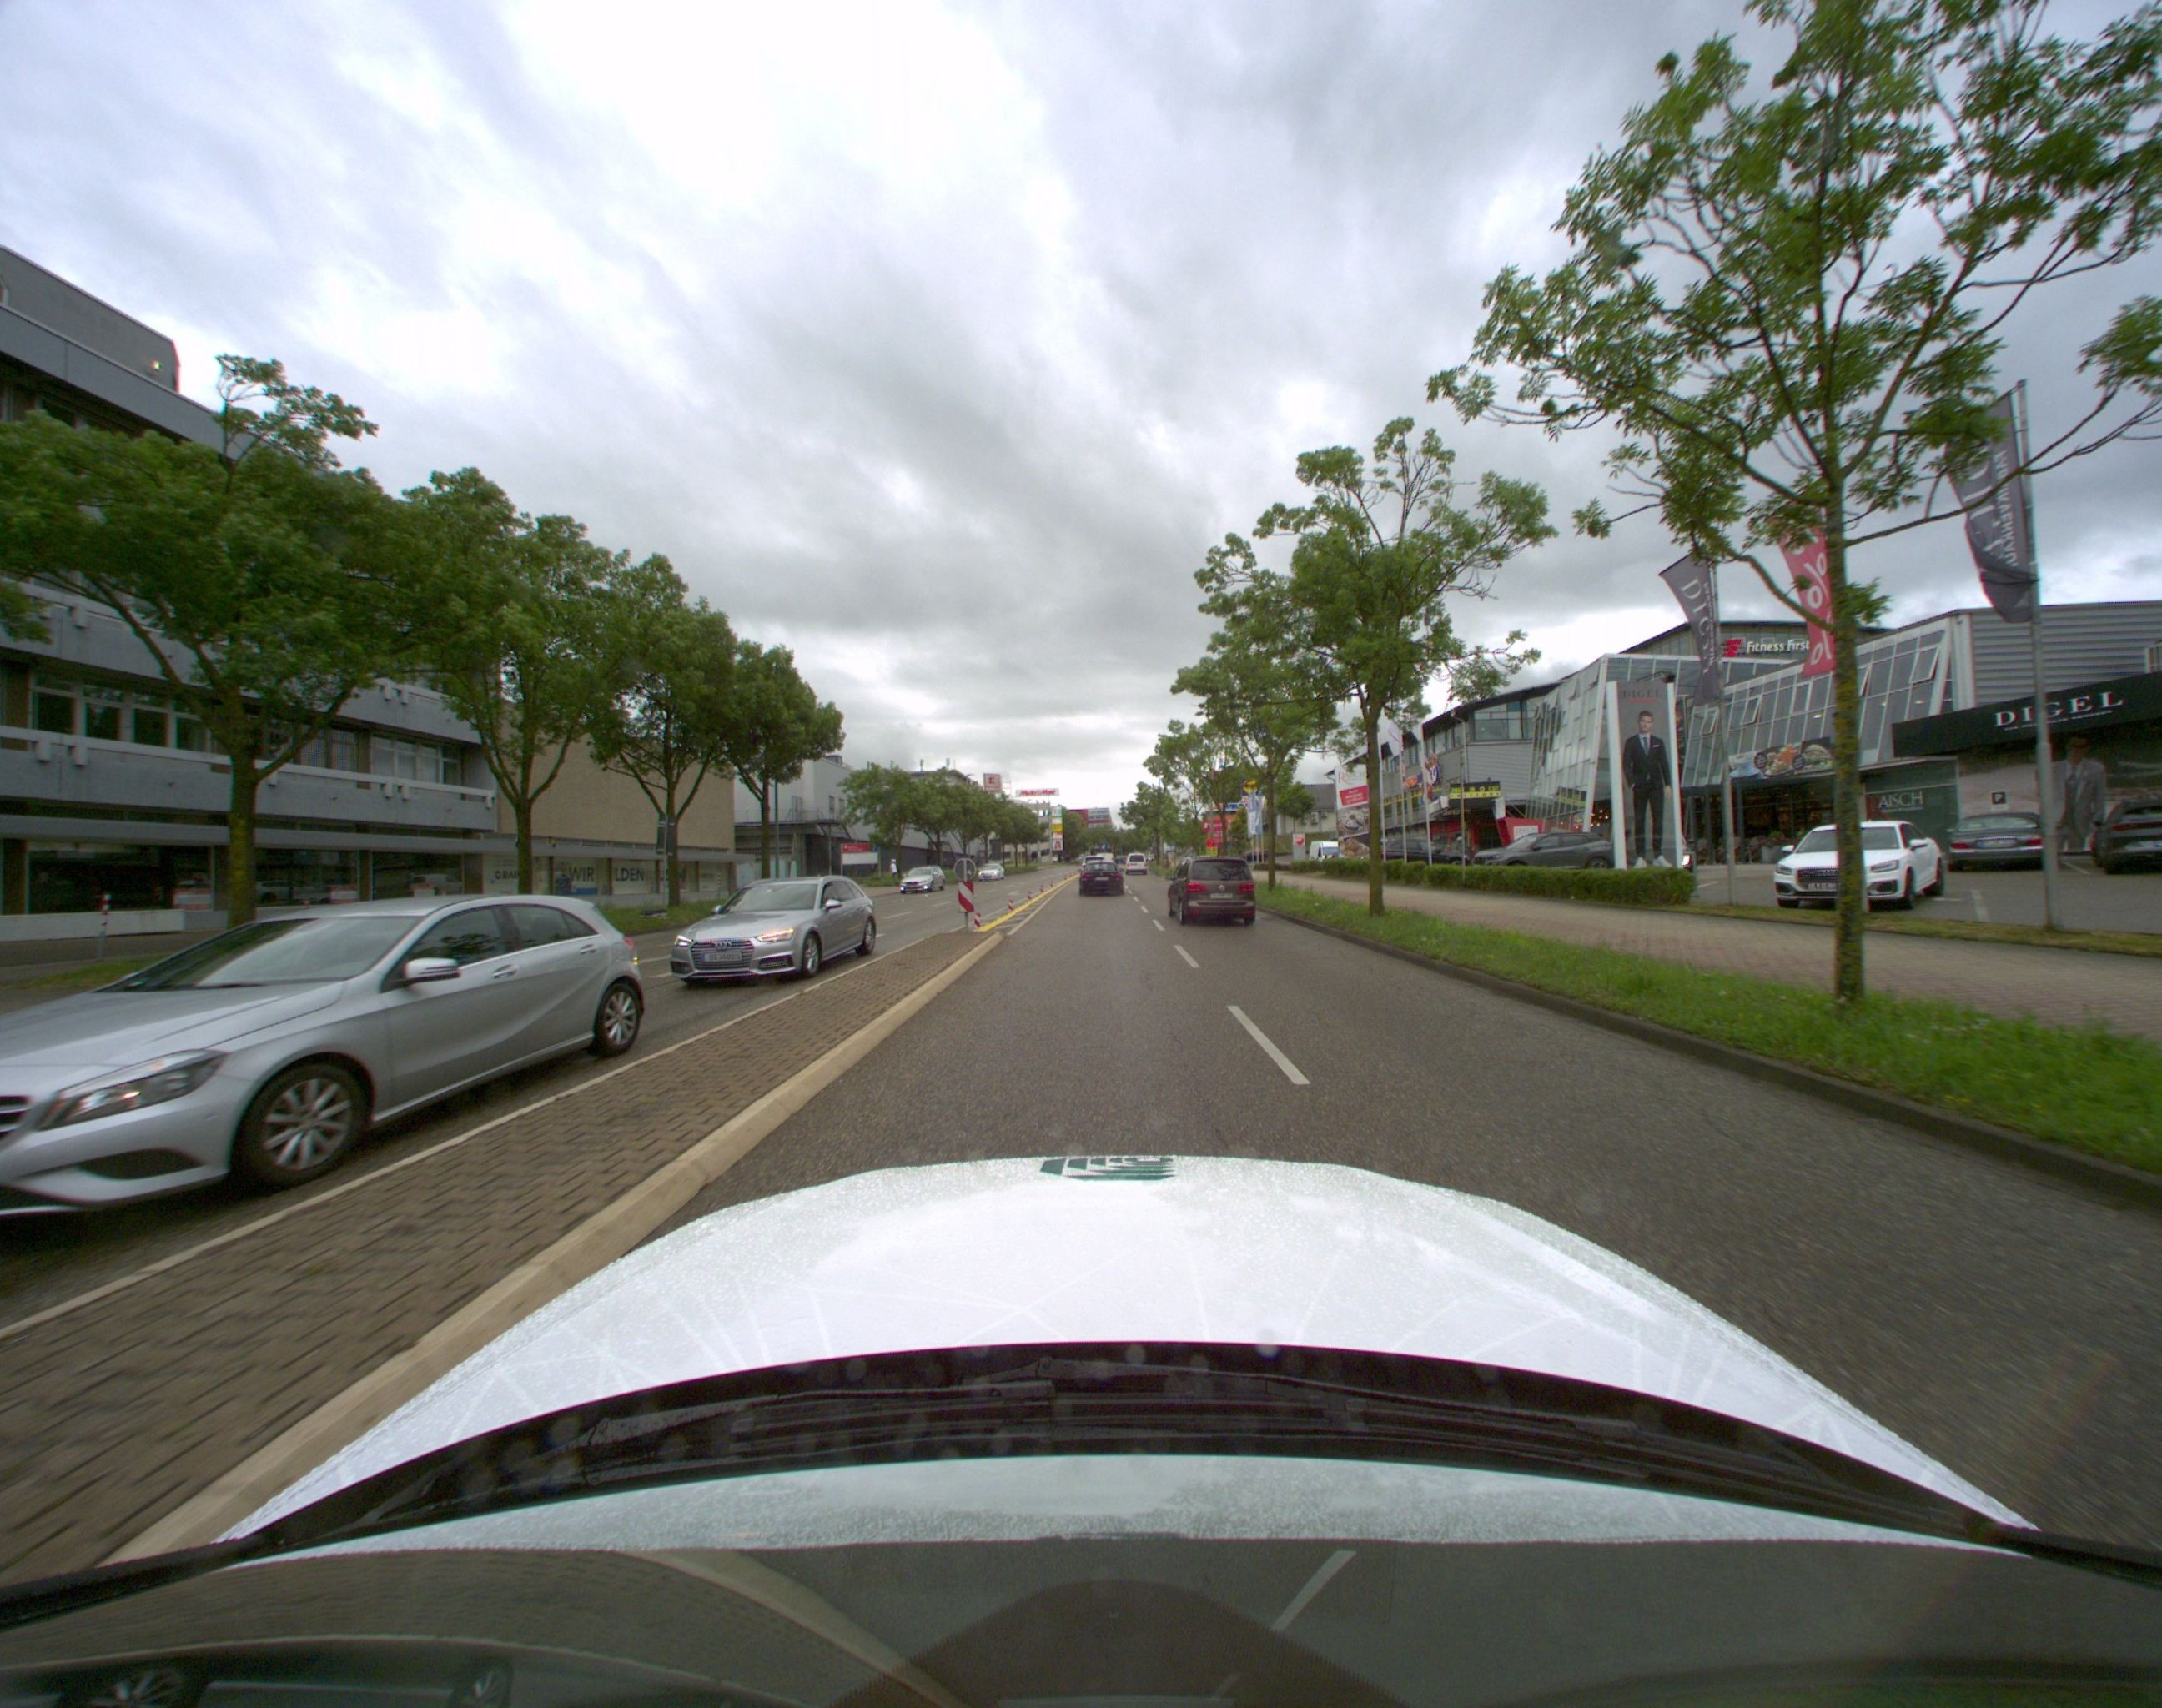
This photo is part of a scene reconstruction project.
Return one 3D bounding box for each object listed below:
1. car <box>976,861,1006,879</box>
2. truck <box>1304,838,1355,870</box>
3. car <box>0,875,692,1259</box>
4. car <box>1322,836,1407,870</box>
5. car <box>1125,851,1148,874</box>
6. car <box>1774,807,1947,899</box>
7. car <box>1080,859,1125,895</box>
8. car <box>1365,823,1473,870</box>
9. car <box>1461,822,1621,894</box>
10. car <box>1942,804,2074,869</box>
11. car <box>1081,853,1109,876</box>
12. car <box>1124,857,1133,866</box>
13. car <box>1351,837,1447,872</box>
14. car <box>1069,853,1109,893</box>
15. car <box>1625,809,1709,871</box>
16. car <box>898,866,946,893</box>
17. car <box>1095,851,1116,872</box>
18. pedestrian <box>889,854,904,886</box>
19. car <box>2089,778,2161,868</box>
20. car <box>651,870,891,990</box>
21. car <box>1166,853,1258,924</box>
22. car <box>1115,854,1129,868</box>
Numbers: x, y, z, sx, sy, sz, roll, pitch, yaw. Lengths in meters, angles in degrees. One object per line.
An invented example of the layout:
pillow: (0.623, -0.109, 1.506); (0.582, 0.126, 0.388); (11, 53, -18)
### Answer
car: (-7.582, 1.353, 68.772); (1.936, 1.448, 4.001); (-1, -1, 1)
truck: (19.557, 0.047, 64.433); (2.433, 2.348, 5.459); (0, -2, 1)
car: (-4.825, 0.951, 5.563); (1.834, 1.377, 4.863); (-5, -1, 1)
car: (15.472, -0.029, 44.570); (4.088, 1.703, 1.803); (-2, 0, 7)
car: (4.683, 0.731, 69.517); (1.775, 1.866, 4.001); (-2, -1, 2)
car: (14.730, -0.045, 15.344); (3.616, 1.536, 1.776); (-2, -1, -38)
car: (0.921, 0.943, 34.755); (1.775, 1.398, 4.001); (-1, -1, 2)
car: (15.352, -0.334, 37.150); (4.093, 1.904, 1.801); (-3, -1, 3)
car: (14.822, 0.132, 26.404); (4.093, 2.106, 1.801); (-2, 0, 3)
car: (23.696, -0.472, 20.782); (4.174, 1.468, 1.811); (-2, -1, -36)
car: (0.944, 0.684, 53.441); (1.775, 1.398, 4.001); (-1, -1, 2)
car: (8.972, 1.418, 154.881); (1.614, 1.495, 3.361); (0, -2, 1)
car: (15.628, 0.038, 40.165); (4.088, 1.536, 1.803); (-2, 0, 7)
car: (0.437, 0.890, 38.671); (1.775, 1.793, 4.001); (-1, -1, 2)
car: (19.959, -0.459, 27.673); (1.774, 1.941, 4.066); (-2, 0, 43)
car: (-9.278, 1.458, 47.750); (1.936, 1.453, 4.001); (-1, -1, 1)
car: (2.459, 0.759, 80.737); (1.986, 2.014, 4.002); (0, -2, 2)
pedestrian: (-13.085, 1.157, 57.787); (0.856, 2.218, 0.846); (-2, -1, -1)
car: (23.113, -0.670, 17.468); (4.174, 1.771, 1.718); (-2, -1, -38)
car: (-4.547, 1.026, 12.855); (1.717, 1.398, 4.791); (-4, -1, 2)
car: (3.149, 0.791, 20.347); (1.794, 1.587, 4.454); (0, -1, 3)
car: (5.134, 0.914, 101.226); (1.678, 1.684, 3.405); (0, -2, 3)
